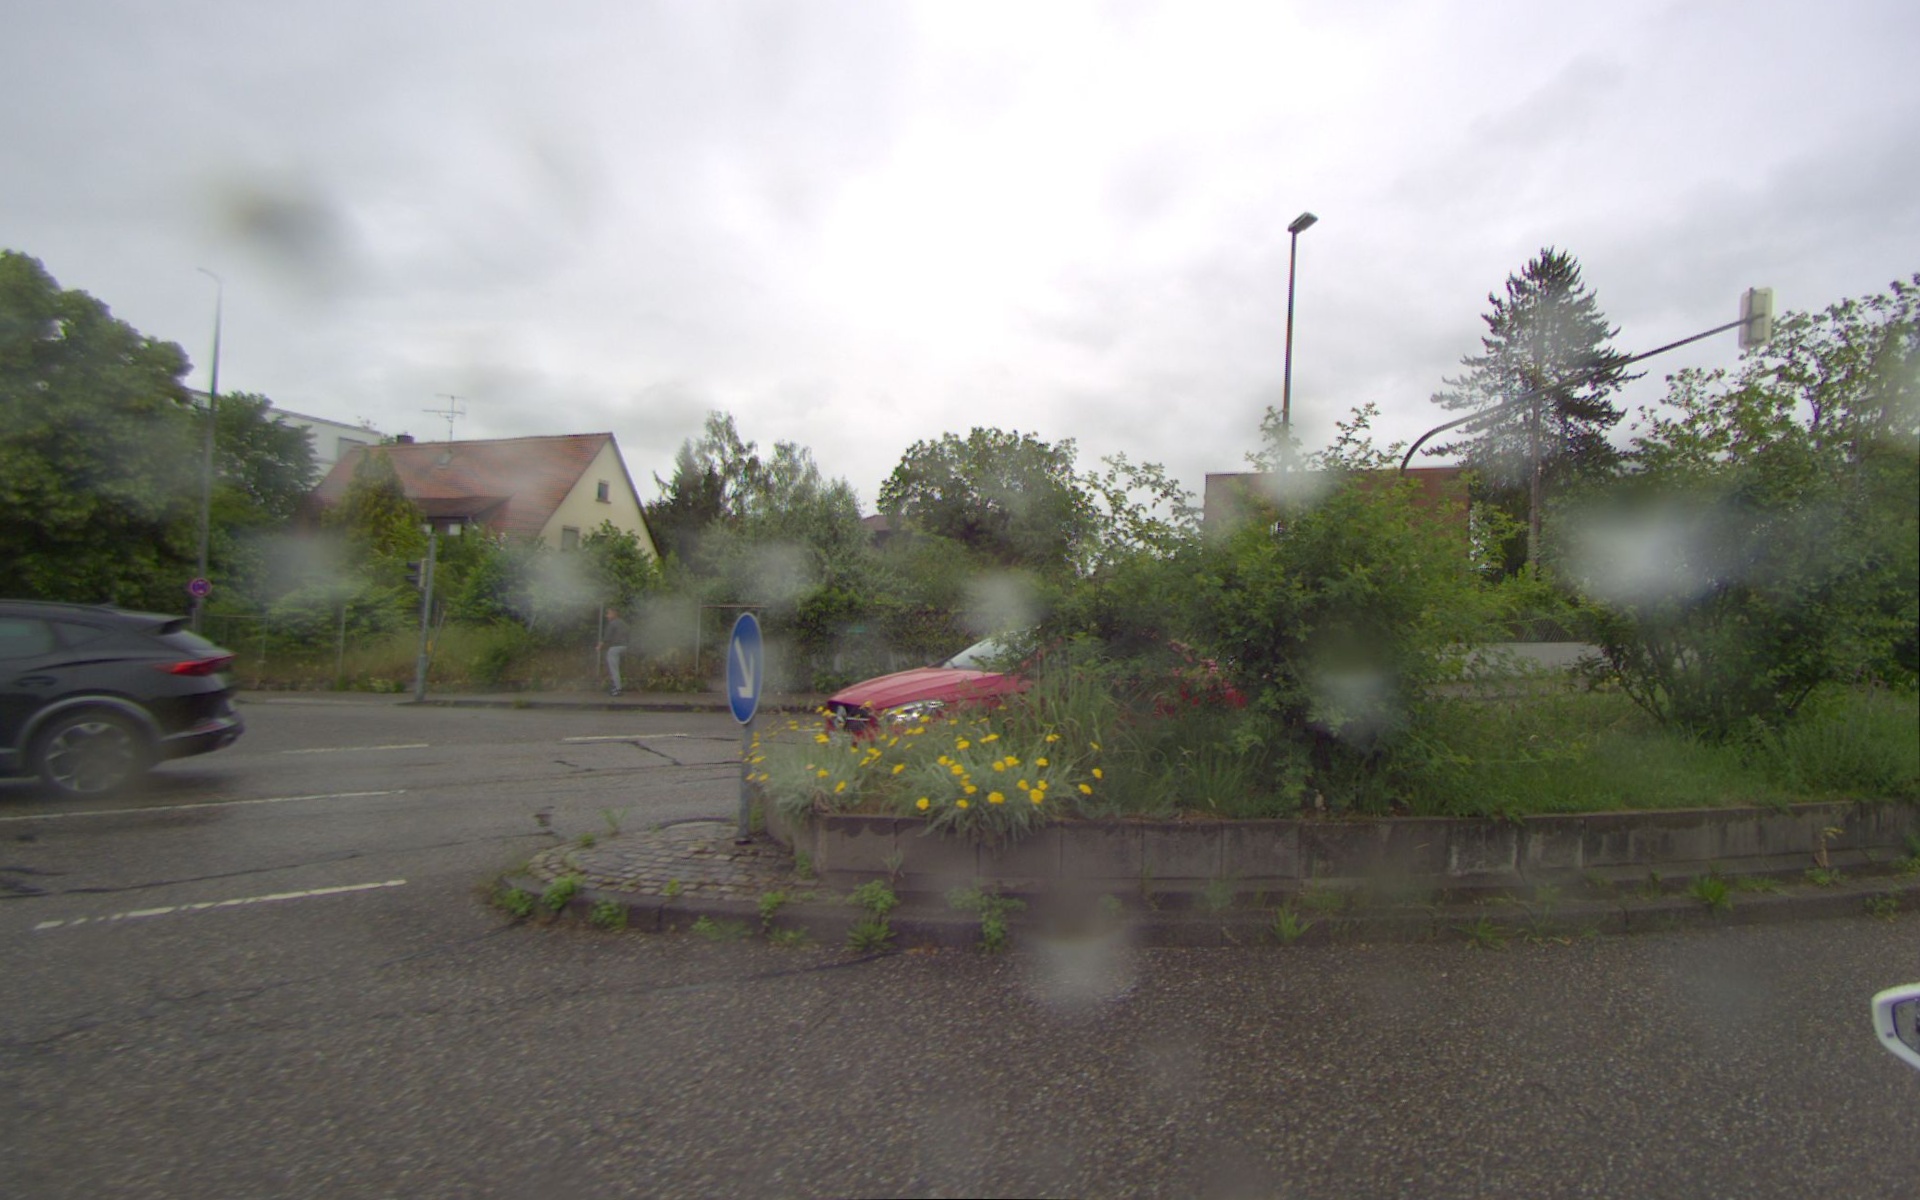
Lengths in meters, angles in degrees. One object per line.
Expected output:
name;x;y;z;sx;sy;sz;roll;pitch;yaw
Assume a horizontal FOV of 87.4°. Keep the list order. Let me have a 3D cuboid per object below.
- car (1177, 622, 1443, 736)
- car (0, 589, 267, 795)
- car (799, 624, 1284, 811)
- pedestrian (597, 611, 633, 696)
car;5.606;1.186;16.033;3.955;1.599;1.983;2;-2;-31
car;-8.047;0.691;7.812;4.250;1.497;1.939;3;-4;-33
car;0.868;1.021;9.793;4.381;1.432;1.983;3;-2;-31
pedestrian;-6.807;1.053;19.834;0.490;1.663;0.553;0;-2;0
